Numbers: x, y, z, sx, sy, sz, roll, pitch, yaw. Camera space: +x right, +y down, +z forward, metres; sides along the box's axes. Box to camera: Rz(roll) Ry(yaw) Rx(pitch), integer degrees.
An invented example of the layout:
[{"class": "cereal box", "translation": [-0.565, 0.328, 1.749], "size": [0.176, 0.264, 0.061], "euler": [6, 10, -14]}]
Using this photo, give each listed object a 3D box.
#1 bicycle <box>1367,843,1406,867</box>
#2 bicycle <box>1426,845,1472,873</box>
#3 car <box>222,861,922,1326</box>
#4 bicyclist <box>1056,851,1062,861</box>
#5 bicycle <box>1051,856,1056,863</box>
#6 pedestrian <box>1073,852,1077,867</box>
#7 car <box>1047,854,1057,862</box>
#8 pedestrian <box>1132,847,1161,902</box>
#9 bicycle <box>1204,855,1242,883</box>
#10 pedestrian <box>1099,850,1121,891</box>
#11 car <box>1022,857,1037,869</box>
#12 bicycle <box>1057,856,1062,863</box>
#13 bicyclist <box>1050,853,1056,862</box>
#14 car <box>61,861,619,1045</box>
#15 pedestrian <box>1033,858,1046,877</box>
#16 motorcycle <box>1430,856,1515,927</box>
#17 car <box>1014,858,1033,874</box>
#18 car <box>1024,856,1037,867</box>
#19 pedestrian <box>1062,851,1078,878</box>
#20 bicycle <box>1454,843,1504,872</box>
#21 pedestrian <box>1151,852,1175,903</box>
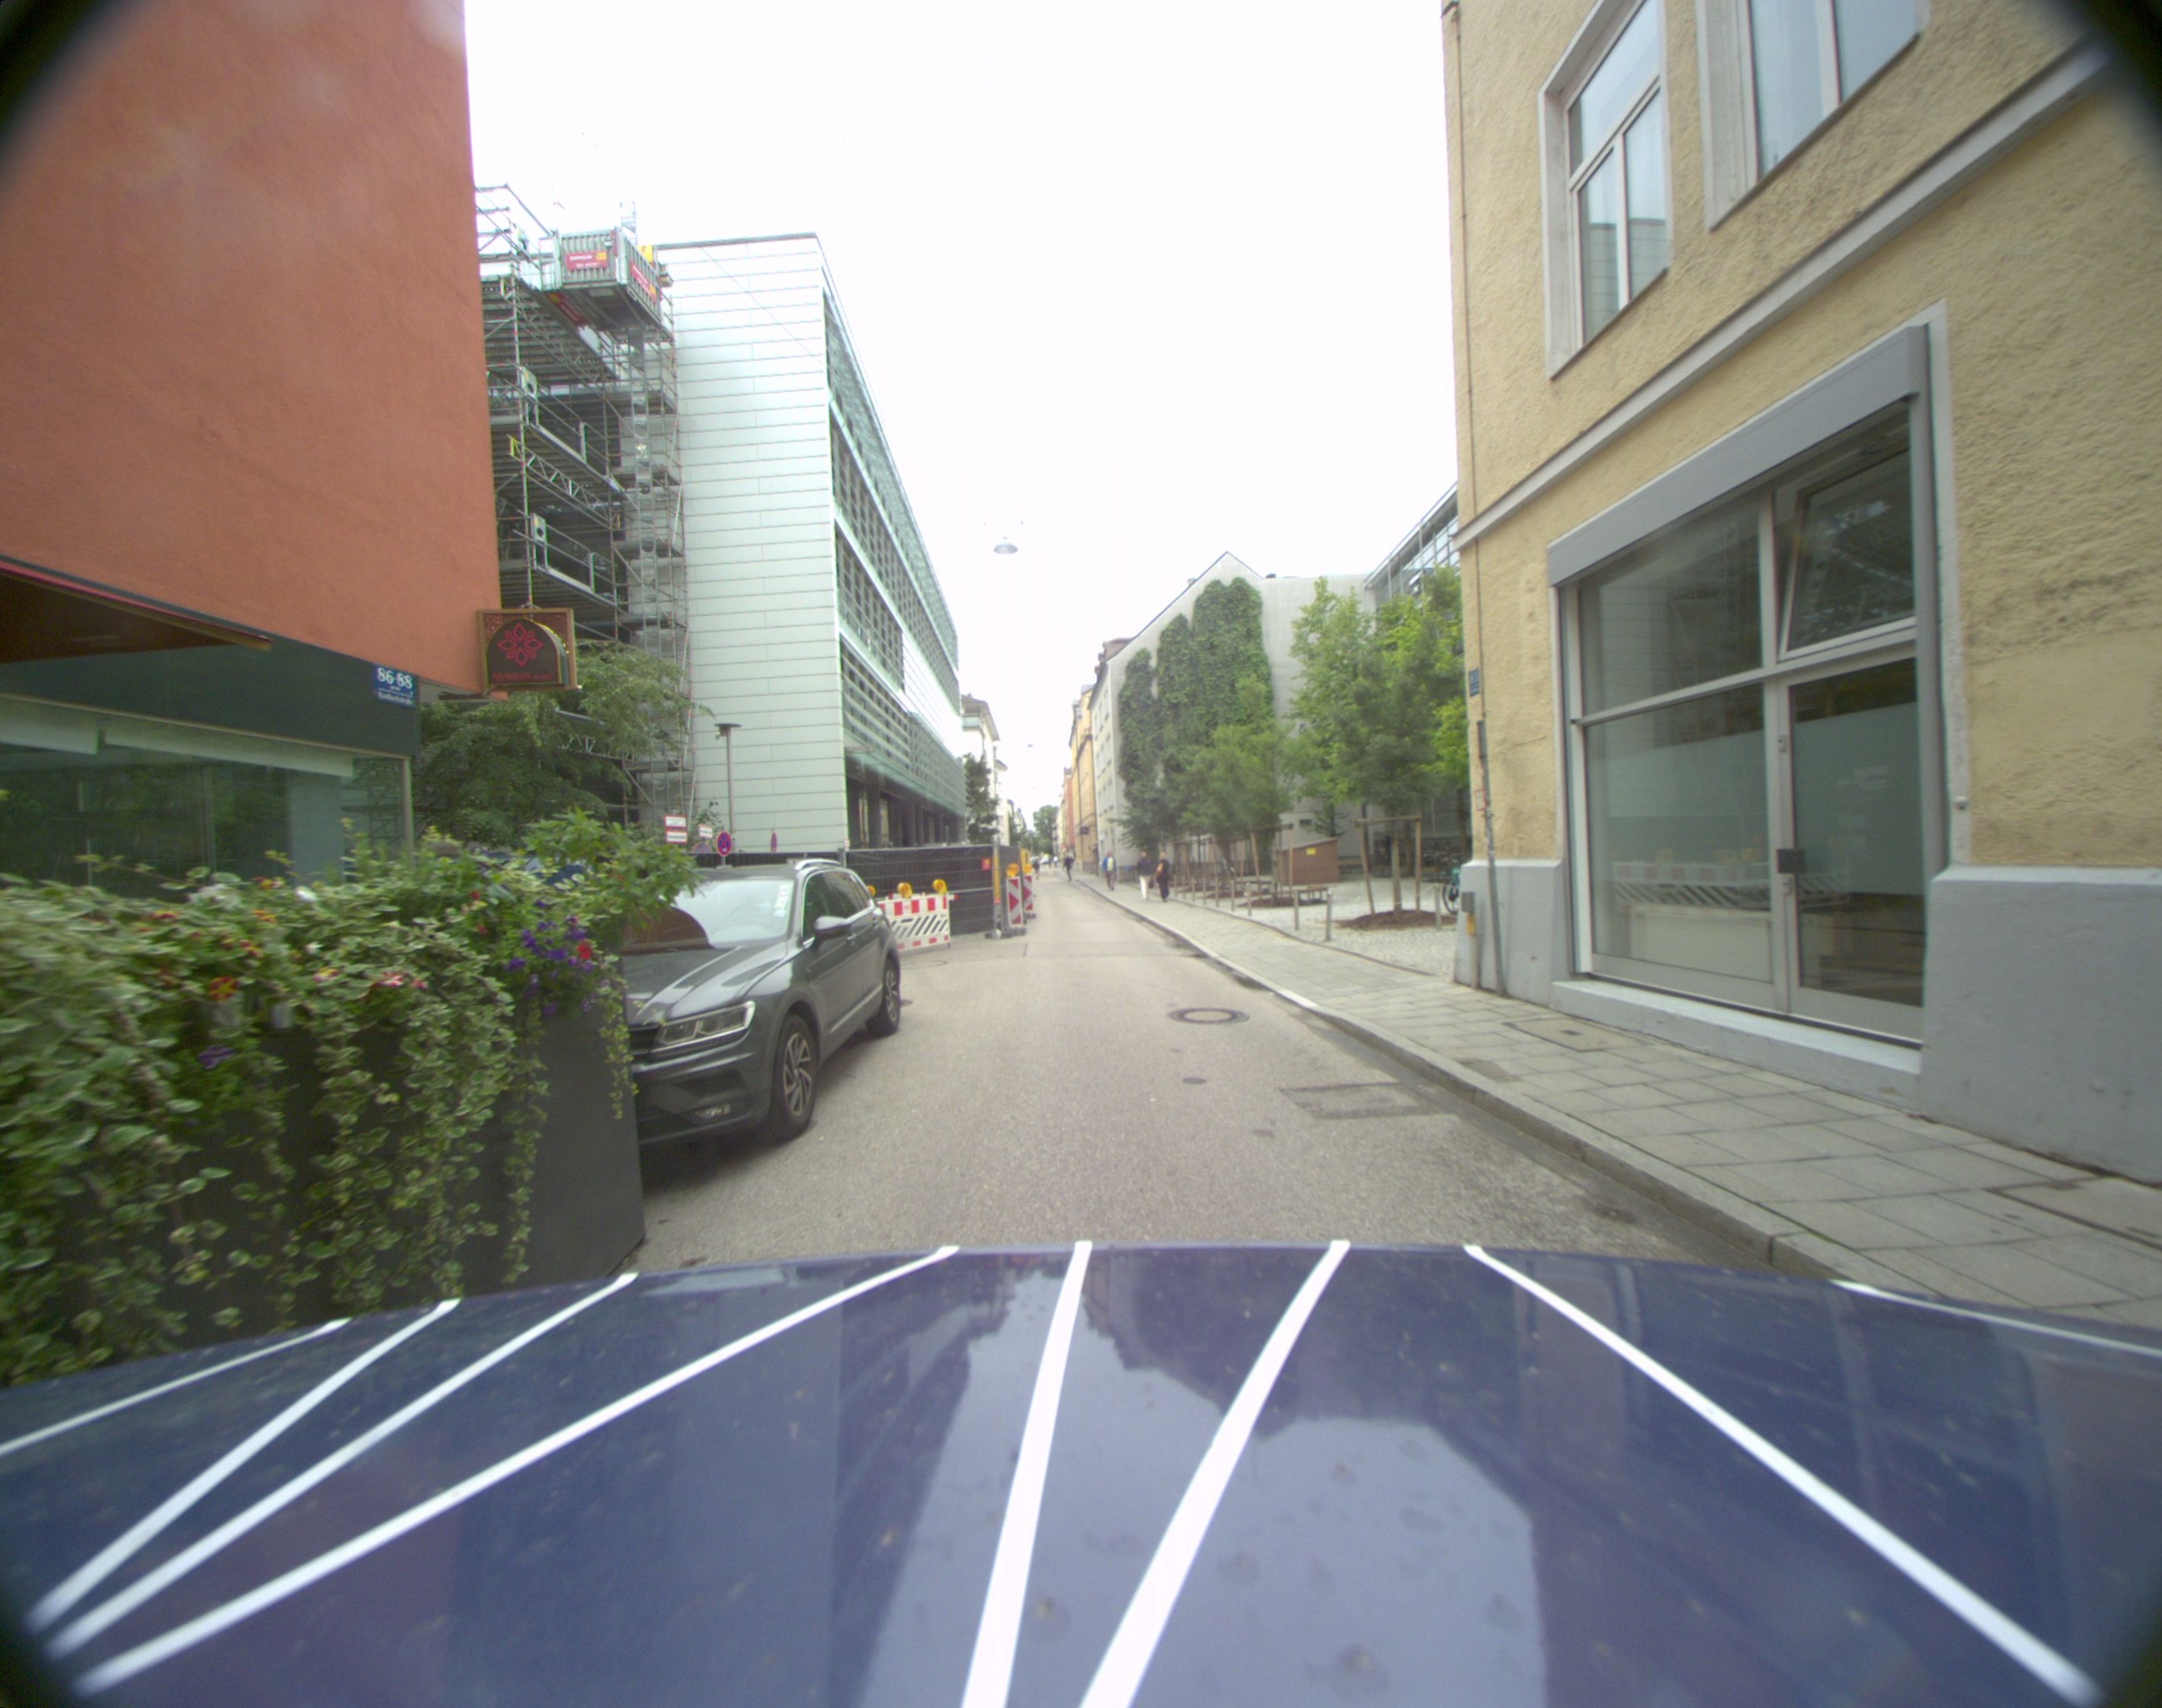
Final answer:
[{"class": "bicycle", "translation": [15.737, 0.033, 39.140], "size": [1.724, 1.135, 0.603], "euler": [-3, 1, 3]}, {"class": "bicycle", "translation": [15.371, 0.214, 31.761], "size": [1.575, 1.054, 0.629], "euler": [-3, 0, 1]}, {"class": "car", "translation": [-2.477, 0.974, 5.231], "size": [1.829, 1.700, 4.388], "euler": [-4, 0, -1]}, {"class": "bicyclist", "translation": [-3.310, 0.321, 115.225], "size": [0.718, 1.399, 0.965], "euler": [-3, 1, -4]}, {"class": "bicycle", "translation": [-4.161, 0.851, 113.781], "size": [0.700, 0.976, 1.948], "euler": [-3, 0, -4]}, {"class": "pedestrian", "translation": [-0.740, 0.673, 93.722], "size": [0.493, 1.814, 0.552], "euler": [-2, 0, -3]}, {"class": "car", "translation": [-5.960, 0.847, 157.599], "size": [1.999, 1.583, 4.373], "euler": [-3, 0, -3]}, {"class": "pedestrian", "translation": [2.267, 0.703, 26.318], "size": [0.778, 1.826, 0.991], "euler": [-3, 1, -3]}, {"class": "bicycle", "translation": [6.549, 0.682, 35.221], "size": [0.714, 1.201, 1.995], "euler": [-4, 1, -21]}, {"class": "pedestrian", "translation": [1.376, 0.758, 35.812], "size": [0.861, 1.834, 0.974], "euler": [-4, 1, -1]}, {"class": "car", "translation": [-6.331, 1.108, 93.801], "size": [1.625, 1.259, 4.328], "euler": [-3, 0, -3]}, {"class": "bicycle", "translation": [-3.280, 0.821, 115.253], "size": [0.700, 0.926, 1.693], "euler": [-3, 0, -4]}, {"class": "bicyclist", "translation": [-4.173, 0.494, 113.741], "size": [0.700, 1.399, 0.768], "euler": [-3, 1, -4]}, {"class": "car", "translation": [-8.215, 1.024, 8.818], "size": [4.474, 1.710, 1.840], "euler": [-2, 0, -3]}, {"class": "pedestrian", "translation": [-3.370, 1.094, 61.232], "size": [0.712, 1.542, 0.775], "euler": [-4, 1, -25]}, {"class": "motorcycle", "translation": [7.171, 0.646, 14.018], "size": [0.577, 1.166, 1.981], "euler": [-4, 1, 3]}, {"class": "car", "translation": [-5.767, 1.203, 76.851], "size": [1.810, 1.390, 3.999], "euler": [-3, 0, -3]}, {"class": "car", "translation": [-7.739, 1.095, 116.333], "size": [1.794, 1.550, 3.999], "euler": [-3, 0, -3]}, {"class": "pedestrian", "translation": [-0.806, 0.751, 55.297], "size": [0.746, 1.891, 0.877], "euler": [-4, 1, -35]}, {"class": "bicycle", "translation": [15.424, 0.127, 29.453], "size": [1.575, 1.054, 0.629], "euler": [-3, 0, 1]}, {"class": "pedestrian", "translation": [2.708, 0.769, 25.245], "size": [0.554, 1.650, 0.997], "euler": [-3, 1, -3]}]
